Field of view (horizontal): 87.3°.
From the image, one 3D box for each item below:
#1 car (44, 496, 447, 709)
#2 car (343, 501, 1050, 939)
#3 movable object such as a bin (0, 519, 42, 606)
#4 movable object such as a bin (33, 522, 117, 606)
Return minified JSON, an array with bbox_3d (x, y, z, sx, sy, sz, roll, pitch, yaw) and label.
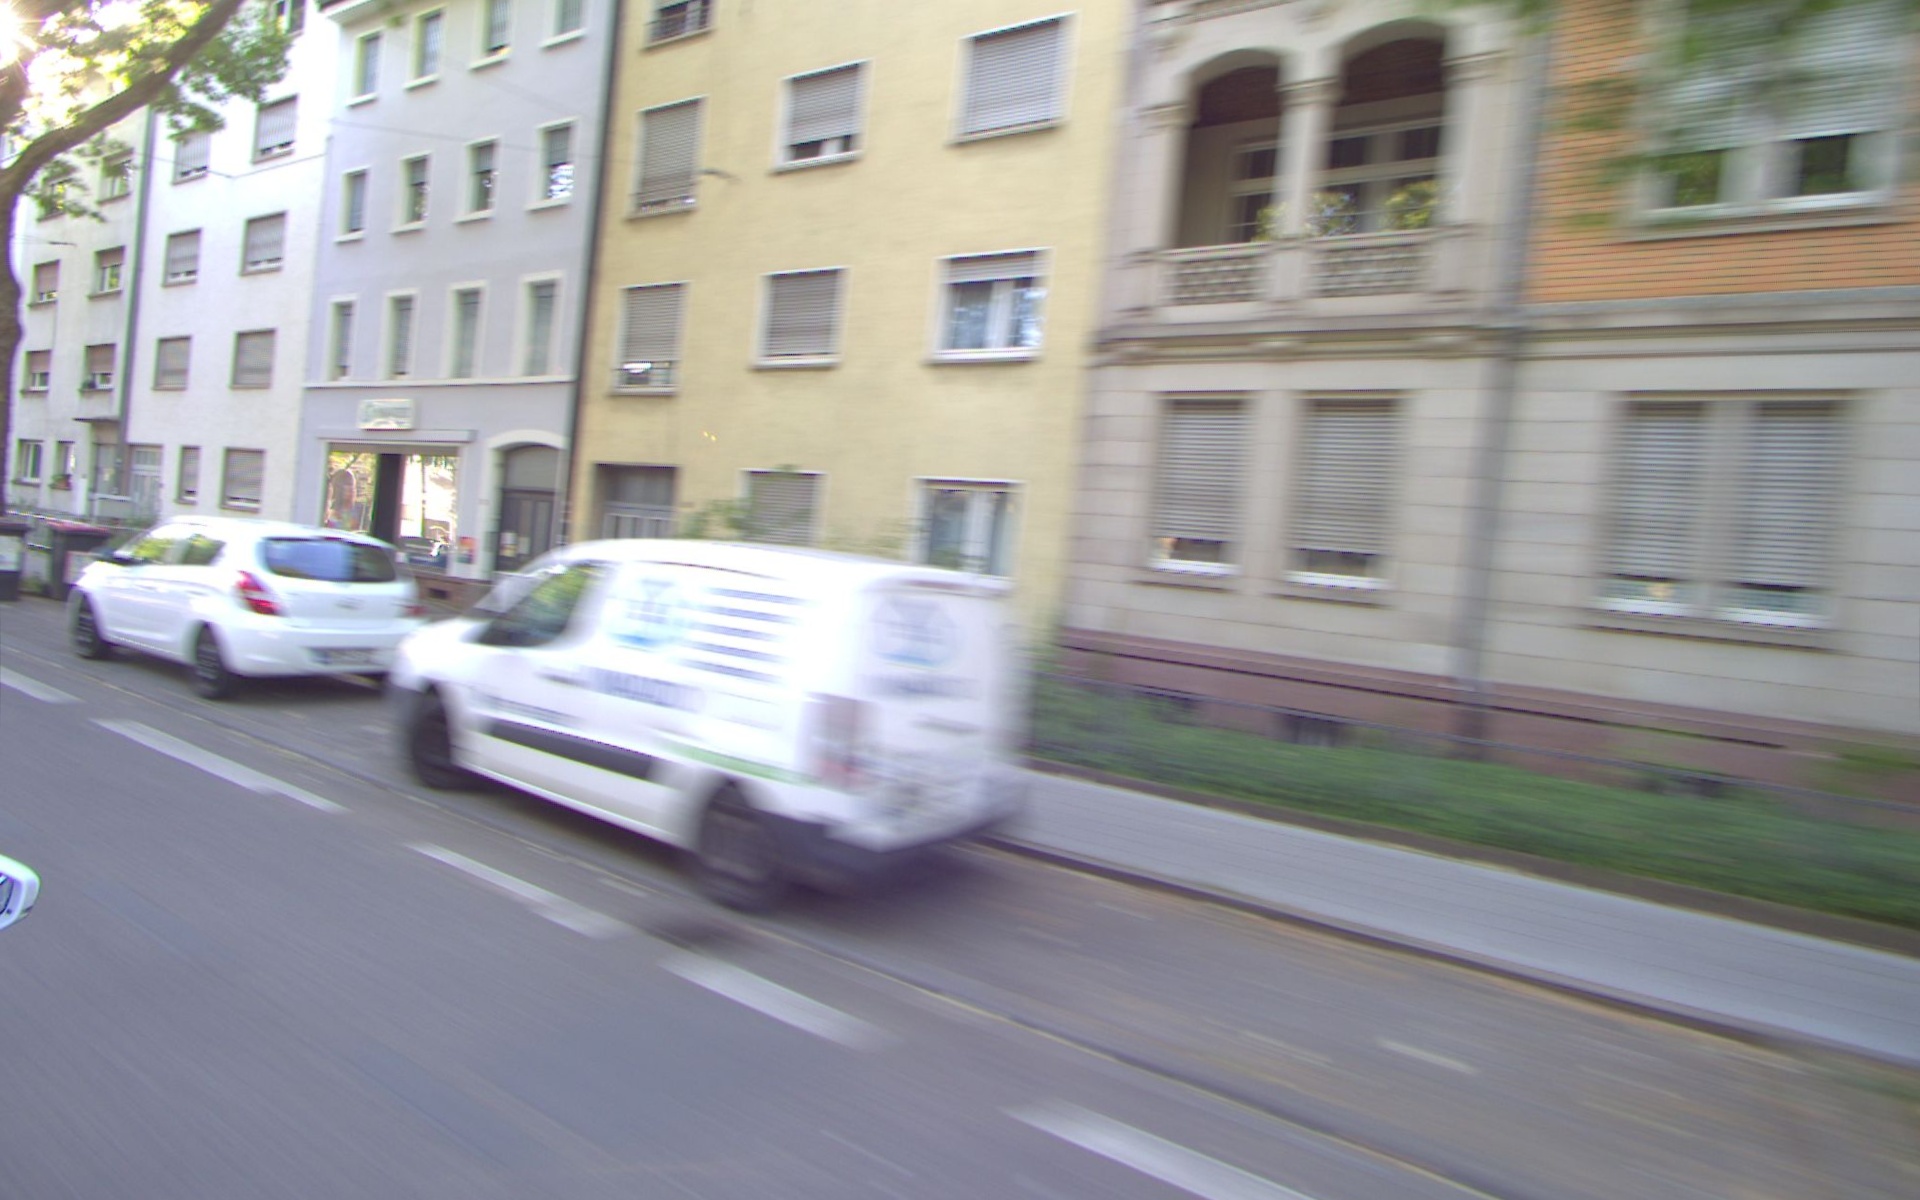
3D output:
[{"bbox_3d":[-6.925,-0.038,9.660,3.933,1.505,1.647,7,1,31],"label":"car"},{"bbox_3d":[-1.825,0.458,6.286,4.324,1.792,1.745,6,0,34],"label":"car"},{"bbox_3d":[-12.712,-0.520,13.232,0.865,1.059,0.674,8,2,31],"label":"movable object such as a bin"},{"bbox_3d":[-12.376,-0.496,14.066,0.834,1.061,0.609,7,2,31],"label":"movable object such as a bin"}]
